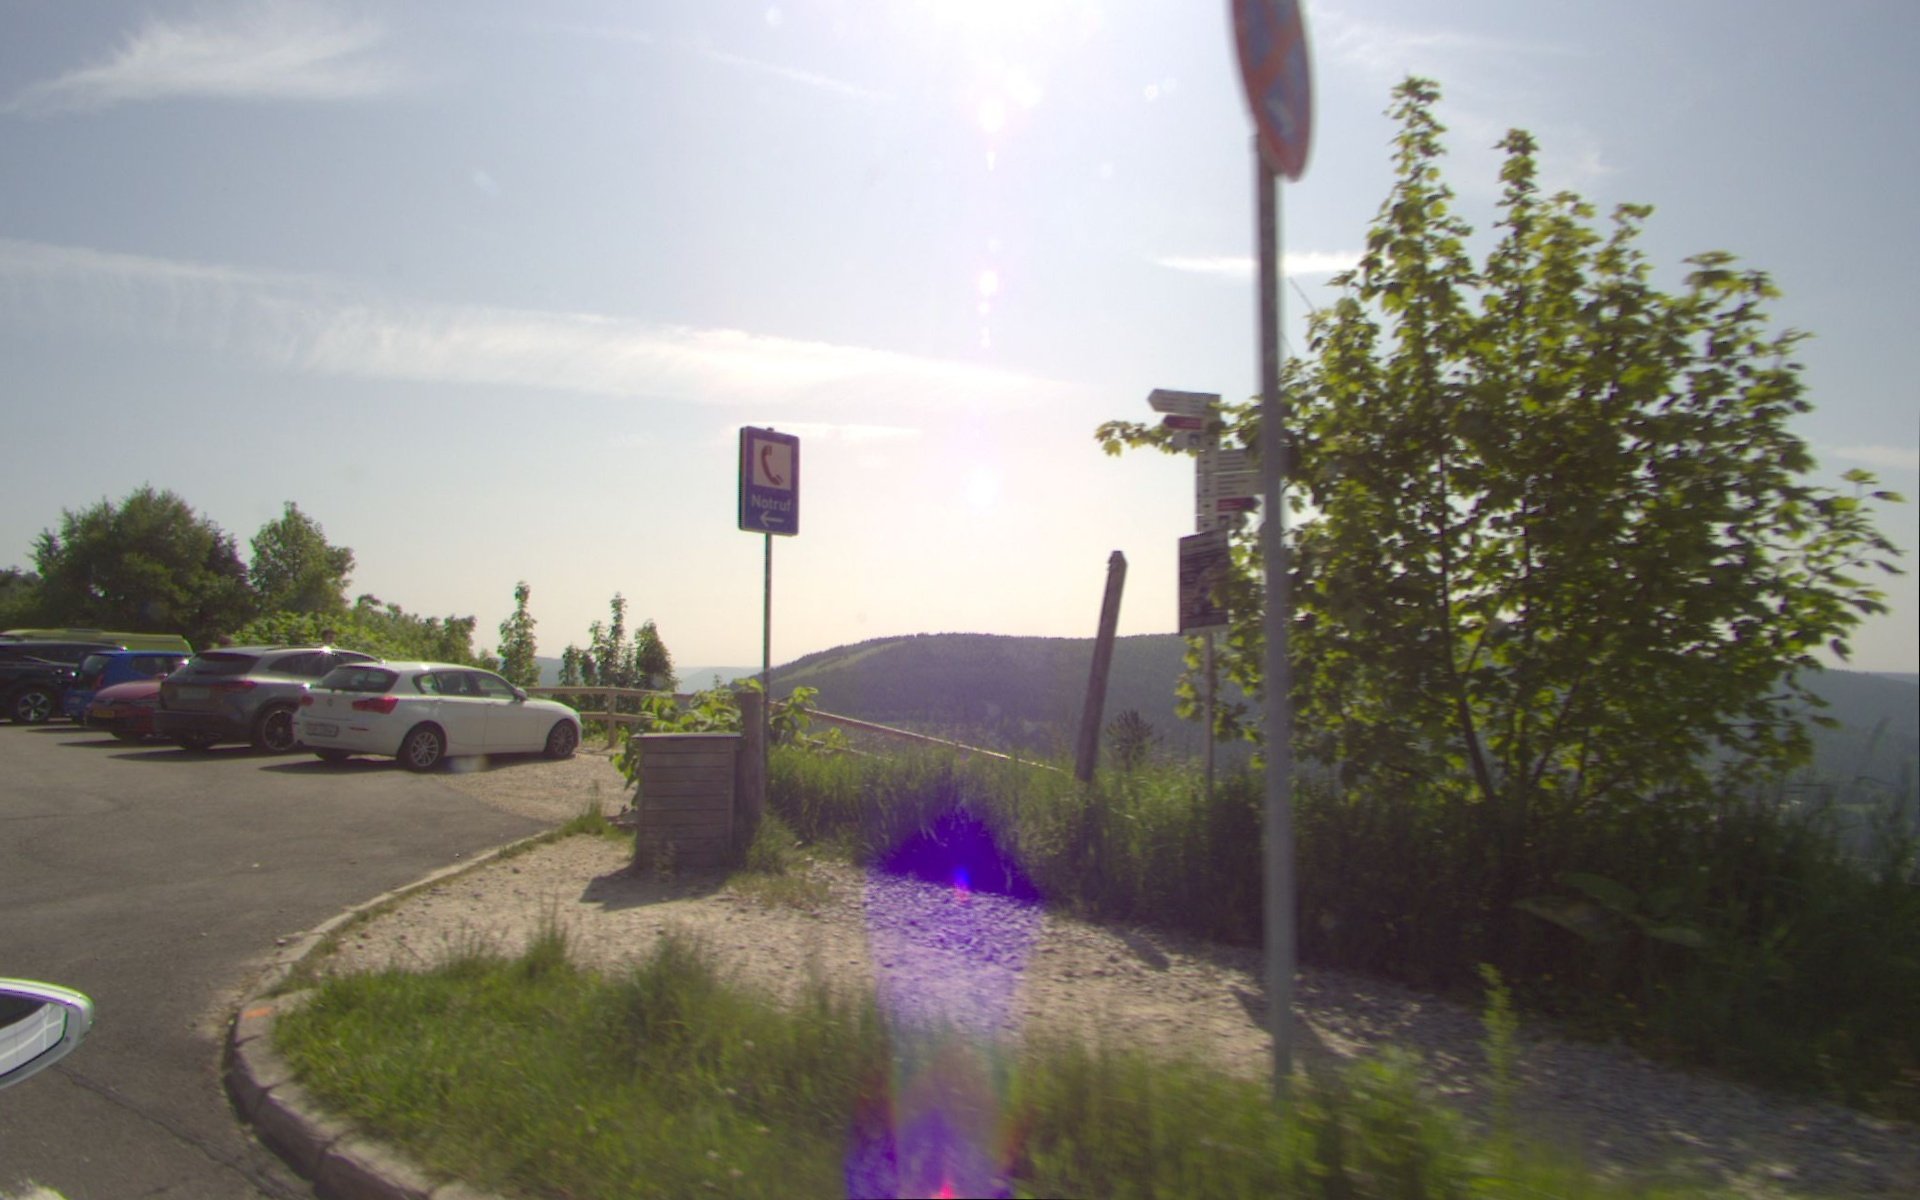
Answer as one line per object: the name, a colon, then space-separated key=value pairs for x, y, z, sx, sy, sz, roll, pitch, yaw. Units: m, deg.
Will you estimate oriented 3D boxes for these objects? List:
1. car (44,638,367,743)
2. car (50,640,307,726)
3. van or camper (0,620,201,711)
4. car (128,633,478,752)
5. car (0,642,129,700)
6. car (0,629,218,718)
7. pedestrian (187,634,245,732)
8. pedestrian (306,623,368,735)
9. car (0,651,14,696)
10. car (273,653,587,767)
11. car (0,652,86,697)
car: x=-12.596 y=1.539 z=17.065 sx=1.810 sy=1.527 sz=3.998 roll=1 pitch=-5 yaw=19
car: x=-15.329 y=1.678 z=19.835 sx=1.623 sy=1.513 sz=3.582 roll=0 pitch=-6 yaw=30
van or camper: x=-22.300 y=1.649 z=24.861 sx=1.855 sy=2.036 sz=5.089 roll=-1 pitch=-6 yaw=32
car: x=-10.182 y=1.473 z=16.016 sx=1.873 sy=1.586 sz=4.411 roll=1 pitch=-5 yaw=18
car: x=-29.148 y=2.282 z=31.623 sx=1.855 sy=1.668 sz=4.192 roll=0 pitch=-6 yaw=9
car: x=-17.953 y=1.518 z=20.474 sx=1.884 sy=1.632 sz=3.994 roll=0 pitch=-5 yaw=23
pedestrian: x=-13.560 y=1.508 z=18.255 sx=0.557 sy=1.744 sz=0.505 roll=0 pitch=-5 yaw=16
pedestrian: x=-10.980 y=1.393 z=17.662 sx=0.670 sy=1.922 sz=0.607 roll=-2 pitch=-6 yaw=35
car: x=-37.665 y=2.662 z=36.932 sx=1.828 sy=1.714 sz=4.231 roll=2 pitch=-6 yaw=-8
car: x=-7.544 y=1.589 z=14.740 sx=1.628 sy=1.401 sz=3.999 roll=0 pitch=-5 yaw=19
car: x=-33.972 y=2.650 z=35.736 sx=1.858 sy=1.477 sz=4.060 roll=1 pitch=-6 yaw=0
